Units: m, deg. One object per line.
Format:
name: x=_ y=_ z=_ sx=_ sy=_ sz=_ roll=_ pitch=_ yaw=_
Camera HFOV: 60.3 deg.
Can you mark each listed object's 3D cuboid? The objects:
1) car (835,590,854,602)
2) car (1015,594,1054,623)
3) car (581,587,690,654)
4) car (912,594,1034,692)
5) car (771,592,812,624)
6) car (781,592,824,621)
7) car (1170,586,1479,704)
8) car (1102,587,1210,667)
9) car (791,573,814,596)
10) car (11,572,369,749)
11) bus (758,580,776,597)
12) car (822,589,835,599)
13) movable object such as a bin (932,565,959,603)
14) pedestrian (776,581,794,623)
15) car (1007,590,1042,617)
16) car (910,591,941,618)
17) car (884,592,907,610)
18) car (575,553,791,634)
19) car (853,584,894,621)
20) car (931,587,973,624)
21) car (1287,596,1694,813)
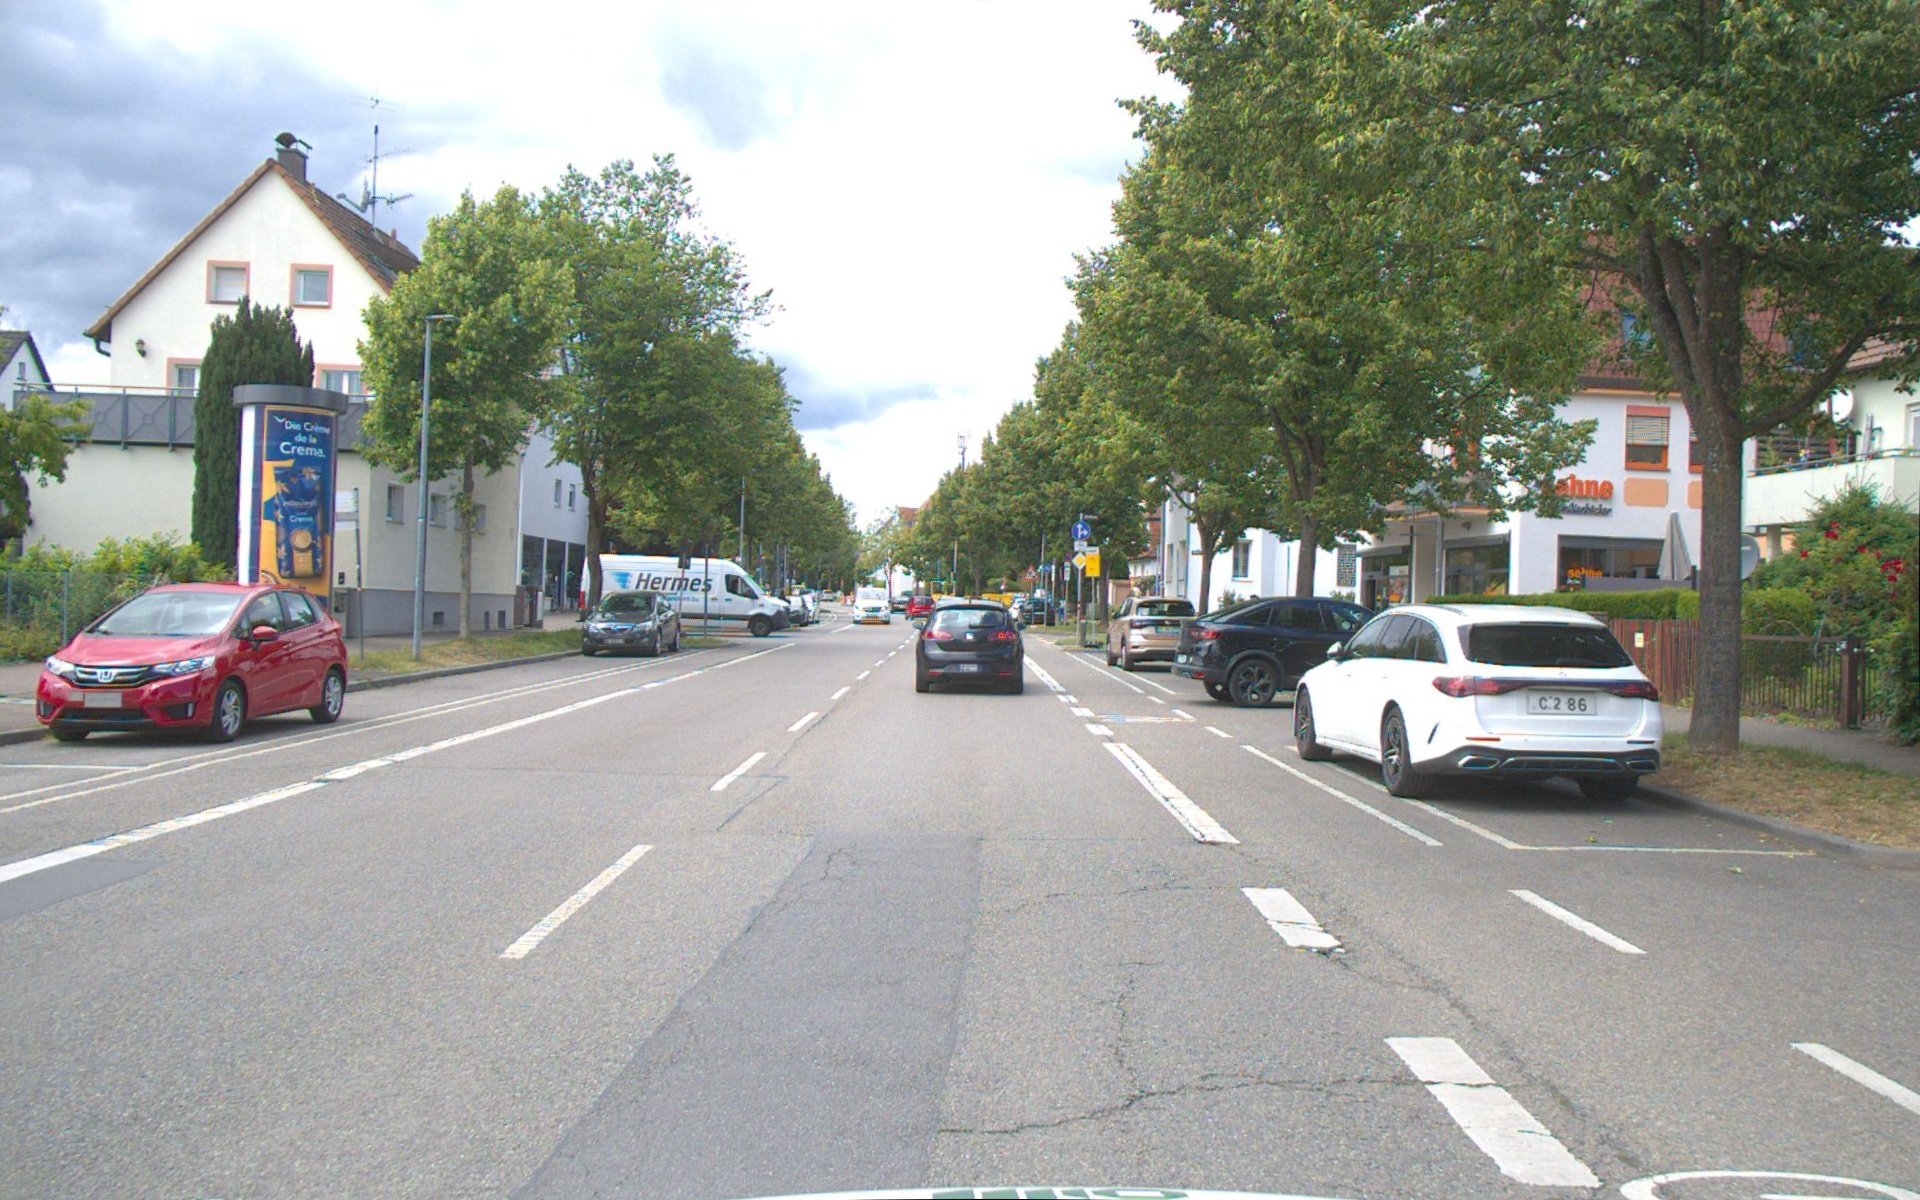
car: x=-13.833 y=-0.511 z=198.423 sx=1.778 sy=1.440 sz=3.682 roll=1 pitch=0 yaw=-12
car: x=3.809 y=0.416 z=85.198 sx=1.671 sy=1.480 sz=4.615 roll=1 pitch=0 yaw=-2
car: x=-7.700 y=0.451 z=39.576 sx=1.695 sy=1.494 sz=4.302 roll=0 pitch=0 yaw=1
car: x=0.152 y=0.648 z=26.958 sx=1.782 sy=1.463 sz=3.738 roll=0 pitch=0 yaw=-3
car: x=-7.866 y=0.353 z=77.440 sx=1.609 sy=1.445 sz=4.019 roll=0 pitch=0 yaw=-2
car: x=-7.987 y=0.310 z=84.026 sx=1.679 sy=1.431 sz=4.301 roll=1 pitch=0 yaw=1
car: x=5.299 y=0.626 z=24.321 sx=4.135 sy=1.666 sz=1.691 roll=0 pitch=0 yaw=-6
car: x=4.208 y=0.544 z=36.099 sx=1.687 sy=1.608 sz=4.059 roll=1 pitch=0 yaw=-3
car: x=-15.821 y=-1.521 z=165.916 sx=2.053 sy=2.213 sz=5.035 roll=1 pitch=0 yaw=-9
car: x=-7.740 y=0.539 z=17.095 sx=1.650 sy=1.568 sz=4.133 roll=1 pitch=0 yaw=1
bus: x=-25.961 y=-1.545 z=222.410 sx=1.957 sy=2.160 sz=7.342 roll=1 pitch=0 yaw=-10
car: x=-19.033 y=-0.831 z=239.680 sx=1.775 sy=1.440 sz=3.688 roll=1 pitch=0 yaw=-6
movable object such as a bin: x=-1.018 y=-1.116 z=117.298 sx=1.733 sy=2.619 sz=3.738 roll=1 pitch=0 yaw=-3
pedestrian: x=-7.308 y=0.074 z=69.185 sx=0.531 sy=1.710 sz=0.751 roll=3 pitch=1 yaw=8
car: x=3.693 y=0.191 z=95.157 sx=1.639 sy=1.488 sz=3.998 roll=1 pitch=0 yaw=-3
car: x=-2.178 y=0.289 z=103.599 sx=1.755 sy=1.651 sz=3.737 roll=0 pitch=0 yaw=-4
car: x=-5.184 y=0.099 z=133.336 sx=1.774 sy=1.399 sz=3.691 roll=1 pitch=0 yaw=-3
car: x=-9.527 y=-0.229 z=57.450 sx=7.145 sy=2.640 sz=2.218 roll=1 pitch=0 yaw=-4
car: x=-4.529 y=0.112 z=86.939 sx=1.926 sy=1.862 sz=4.818 roll=1 pitch=0 yaw=-1
car: x=-0.412 y=0.248 z=79.902 sx=1.868 sy=1.715 sz=3.738 roll=0 pitch=0 yaw=-3
car: x=4.233 y=0.736 z=14.103 sx=1.769 sy=1.500 sz=4.810 roll=1 pitch=0 yaw=-2
